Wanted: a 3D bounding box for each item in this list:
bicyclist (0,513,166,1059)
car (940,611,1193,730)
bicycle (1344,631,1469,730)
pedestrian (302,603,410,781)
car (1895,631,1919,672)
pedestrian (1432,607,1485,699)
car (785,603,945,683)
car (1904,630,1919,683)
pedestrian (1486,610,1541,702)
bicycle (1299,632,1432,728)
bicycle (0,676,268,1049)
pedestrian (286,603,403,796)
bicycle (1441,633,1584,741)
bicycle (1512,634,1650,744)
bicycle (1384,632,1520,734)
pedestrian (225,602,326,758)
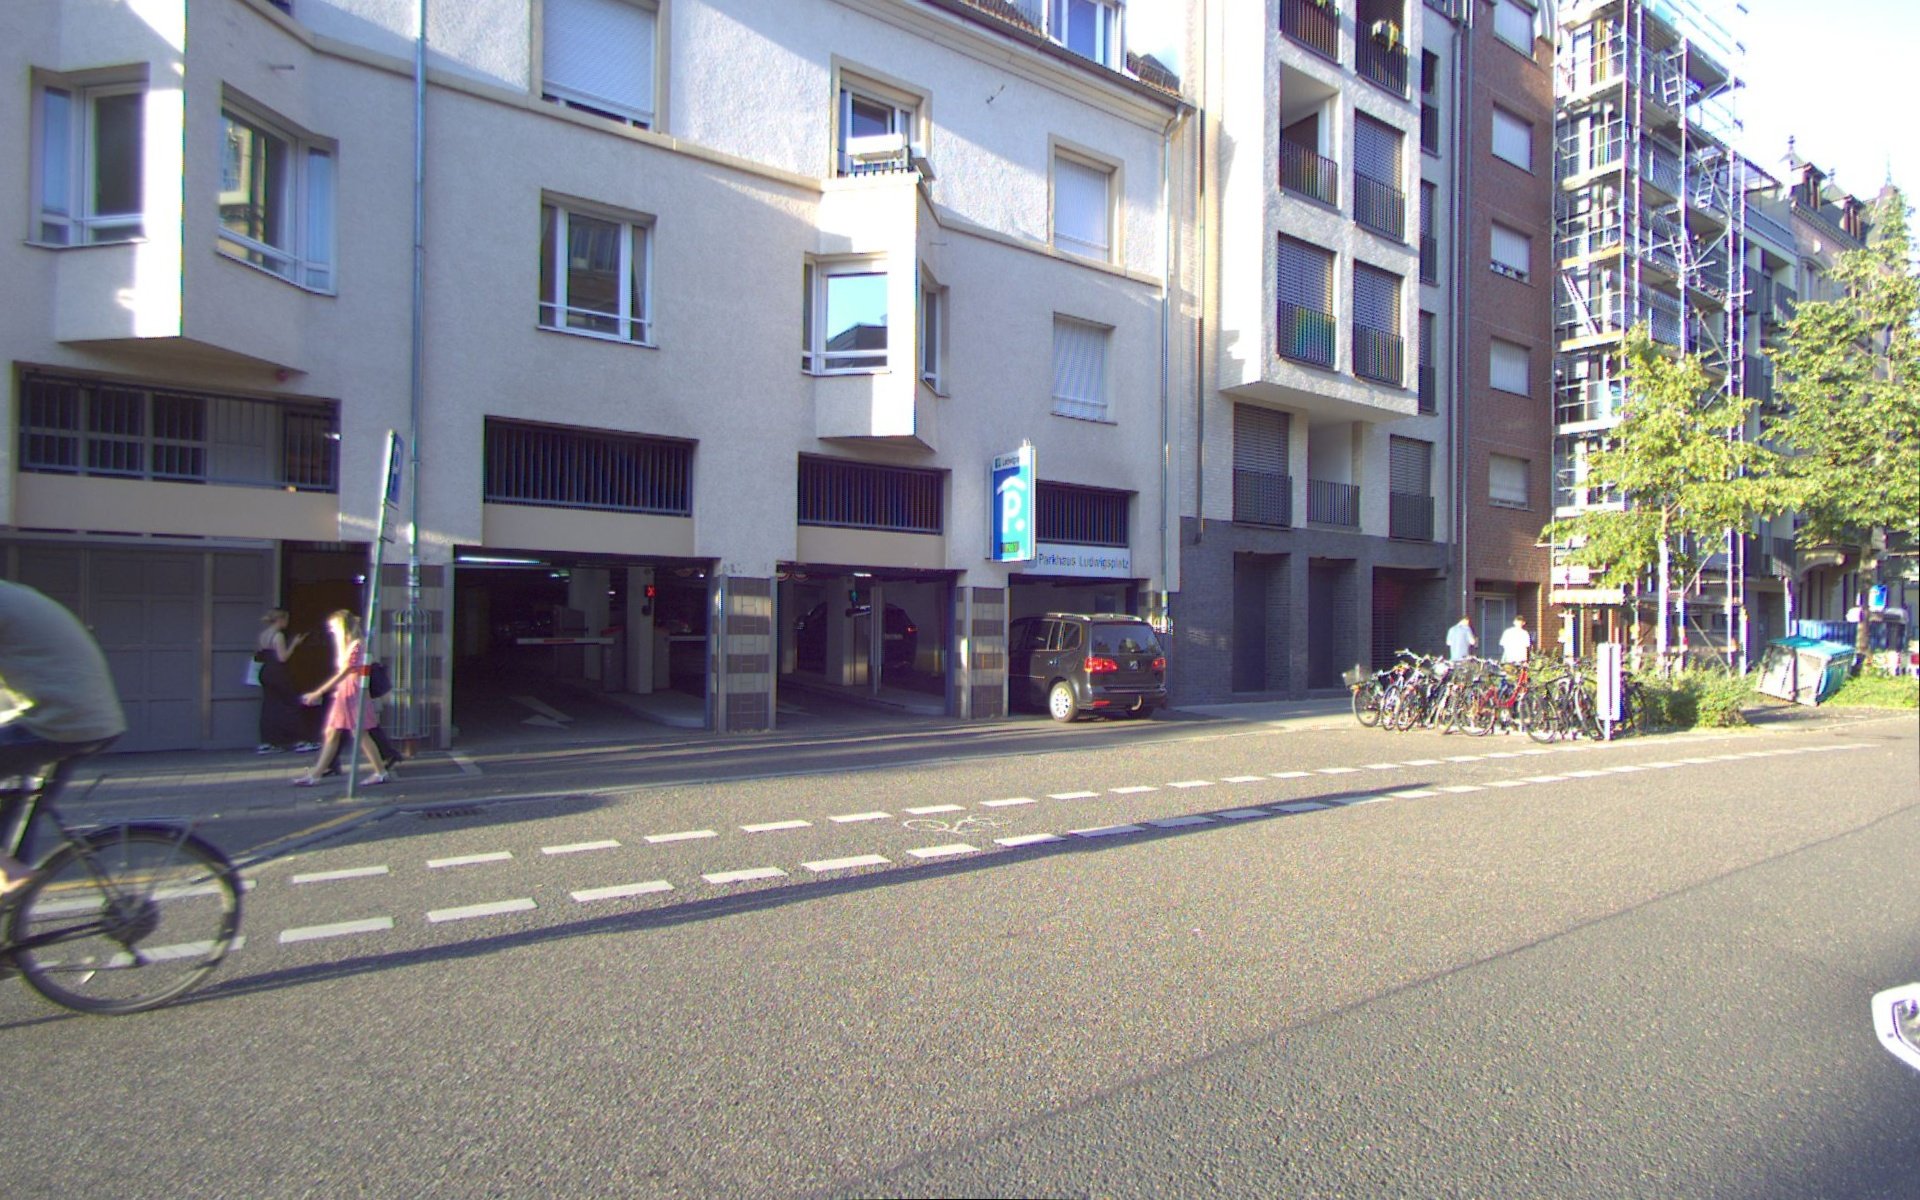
[{"bbox_3d":[-3.582,0.636,3.662,0.998,1.853,0.775,2,-2,-36],"label":"bicyclist"},{"bbox_3d":[1.624,1.071,16.975,1.977,1.623,4.472,2,0,-30],"label":"car"},{"bbox_3d":[7.098,1.212,15.850,3.138,1.414,0.579,2,0,-43],"label":"bicycle"},{"bbox_3d":[-5.943,0.875,9.928,0.845,1.663,0.713,2,0,-29],"label":"pedestrian"},{"bbox_3d":[37.409,1.977,36.925,1.868,1.485,4.080,2,0,-32],"label":"car"},{"bbox_3d":[9.995,1.048,20.139,0.689,1.790,0.710,2,0,-42],"label":"pedestrian"},{"bbox_3d":[-2.330,0.926,23.417,1.977,1.623,4.472,2,0,-30],"label":"car"},{"bbox_3d":[29.133,1.662,27.761,1.868,1.485,4.080,2,0,-32],"label":"car"},{"bbox_3d":[11.015,1.104,19.984,0.733,1.763,0.710,2,0,-42],"label":"pedestrian"},{"bbox_3d":[6.647,1.244,16.348,3.130,1.414,0.714,2,0,-43],"label":"bicycle"},{"bbox_3d":[-3.697,0.914,3.566,2.002,1.220,0.775,2,-2,-37],"label":"bicycle"},{"bbox_3d":[-5.623,0.876,9.227,0.845,1.663,0.713,2,0,-30],"label":"pedestrian"},{"bbox_3d":[8.142,1.205,14.707,3.143,1.414,0.884,2,-1,-43],"label":"bicycle"},{"bbox_3d":[8.735,1.175,14.041,3.164,1.368,0.836,2,-2,-43],"label":"bicycle"},{"bbox_3d":[7.570,1.208,15.338,3.120,1.391,0.773,2,0,-43],"label":"bicycle"},{"bbox_3d":[-7.528,0.853,11.087,0.845,1.637,0.713,2,0,-32],"label":"pedestrian"}]
